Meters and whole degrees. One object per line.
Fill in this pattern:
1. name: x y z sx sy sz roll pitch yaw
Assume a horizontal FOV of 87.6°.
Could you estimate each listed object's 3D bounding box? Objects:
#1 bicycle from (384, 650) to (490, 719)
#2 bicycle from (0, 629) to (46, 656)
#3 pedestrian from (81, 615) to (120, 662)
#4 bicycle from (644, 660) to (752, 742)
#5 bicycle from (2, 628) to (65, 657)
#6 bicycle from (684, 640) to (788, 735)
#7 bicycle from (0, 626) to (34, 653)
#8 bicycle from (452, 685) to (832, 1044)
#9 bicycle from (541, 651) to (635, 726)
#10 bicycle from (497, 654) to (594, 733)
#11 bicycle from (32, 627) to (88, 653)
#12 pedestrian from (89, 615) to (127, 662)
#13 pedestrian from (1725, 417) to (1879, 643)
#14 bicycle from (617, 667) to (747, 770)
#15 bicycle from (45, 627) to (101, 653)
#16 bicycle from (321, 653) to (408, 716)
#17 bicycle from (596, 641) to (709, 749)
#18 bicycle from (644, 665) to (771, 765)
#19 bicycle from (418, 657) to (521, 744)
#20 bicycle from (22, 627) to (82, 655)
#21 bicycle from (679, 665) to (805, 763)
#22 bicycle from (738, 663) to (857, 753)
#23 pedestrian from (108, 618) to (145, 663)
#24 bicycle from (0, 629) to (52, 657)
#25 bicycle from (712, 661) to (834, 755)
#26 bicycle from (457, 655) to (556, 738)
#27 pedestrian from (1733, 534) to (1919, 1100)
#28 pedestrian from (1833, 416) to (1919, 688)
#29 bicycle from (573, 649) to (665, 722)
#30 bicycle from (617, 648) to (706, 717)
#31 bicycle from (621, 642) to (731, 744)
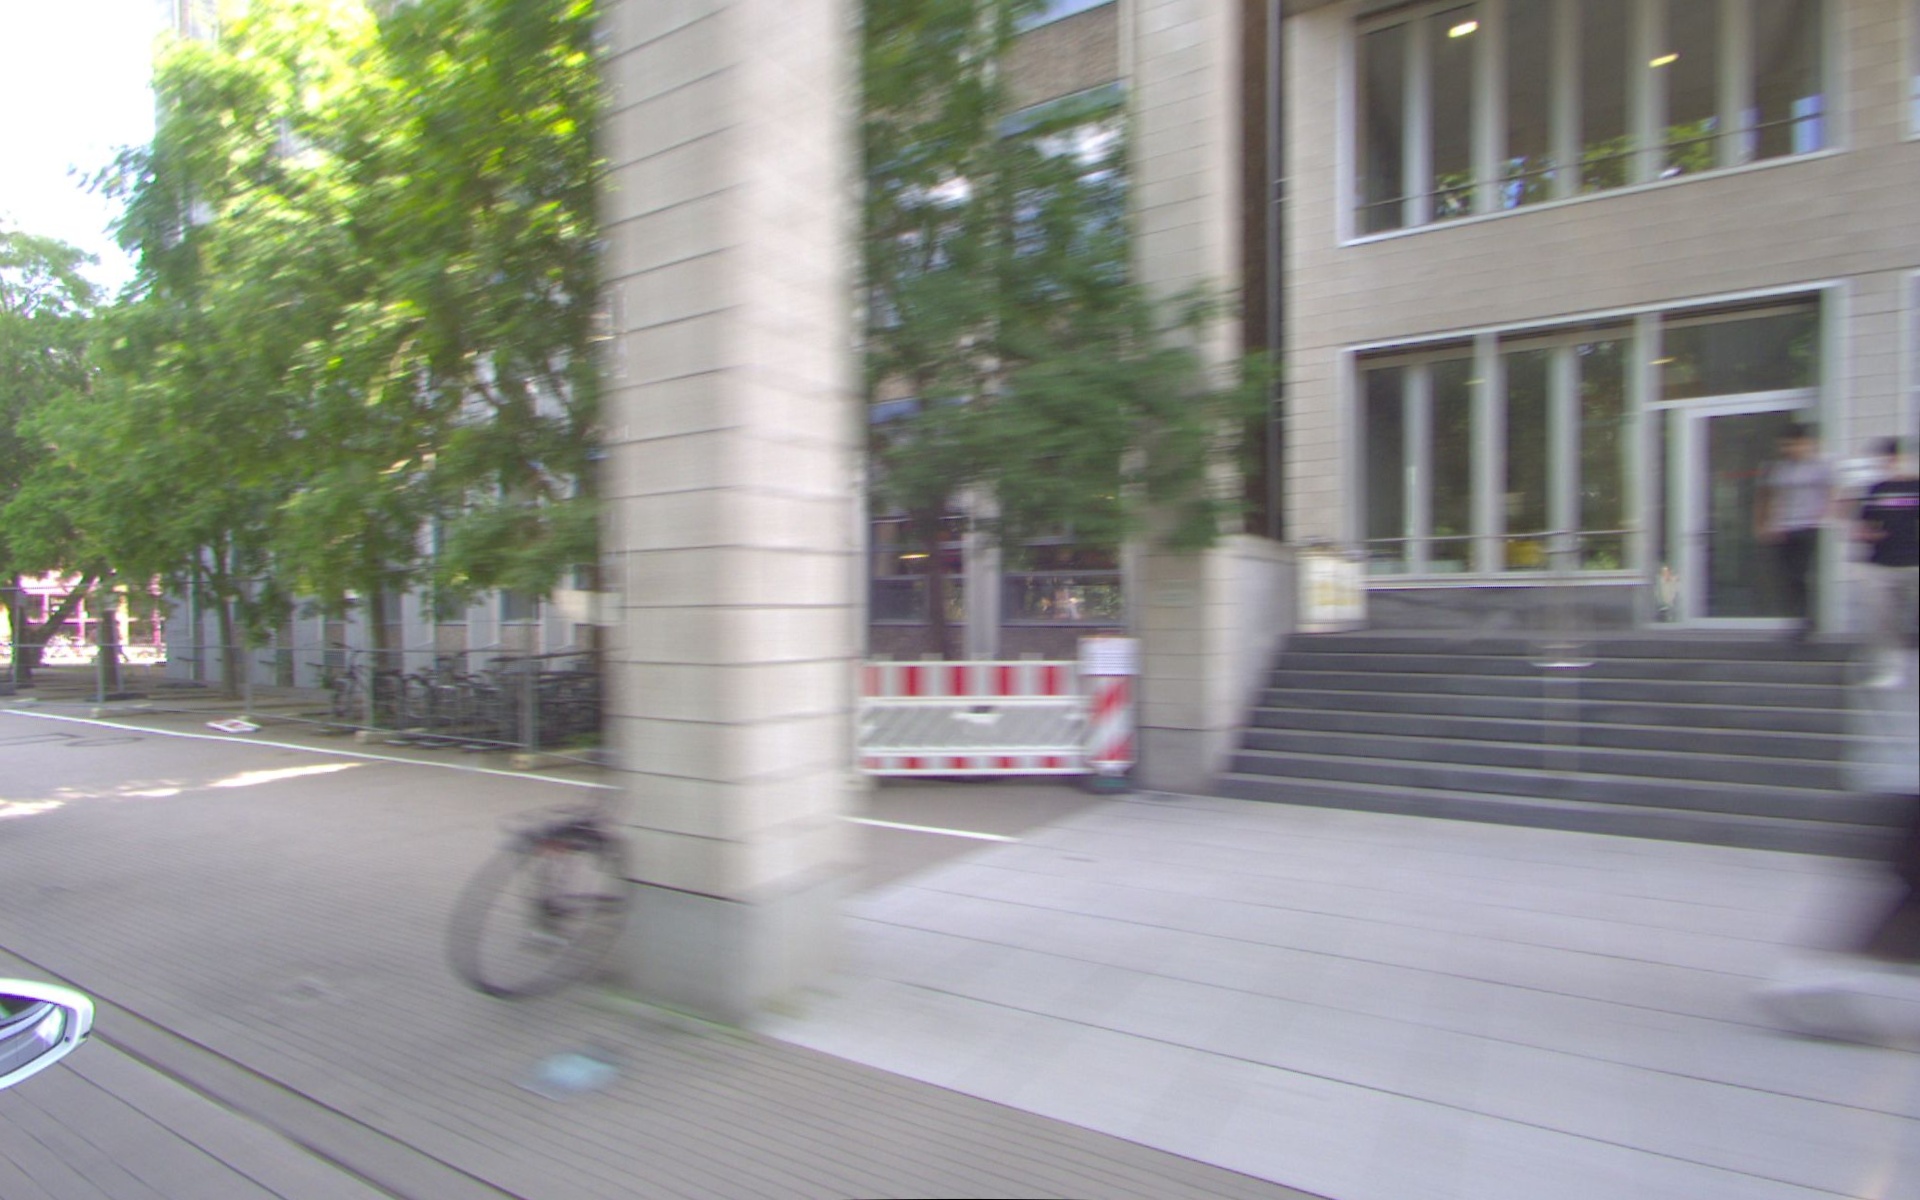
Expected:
1. bicycle: -7.524 1.199 14.382 1.775 0.917 0.290 0 0 24
2. bicycle: -39.292 1.769 41.647 0.516 1.124 1.808 0 -2 29
3. pedestrian: -32.884 1.451 38.320 0.674 1.750 0.901 -3 -1 27
4. bicycle: -3.123 1.177 11.882 1.426 0.899 0.290 0 0 29
5. bicycle: -37.709 1.727 40.788 0.516 1.124 1.807 0 -2 31
6. bicycle: -2.792 1.060 12.431 1.426 1.113 0.290 0 0 29
7. bicycle: -40.787 1.678 42.731 0.516 1.124 1.807 0 -2 30
8. bicycle: -1.217 0.964 4.235 0.442 1.053 1.737 1 1 27
9. bicycle: -4.915 1.144 13.197 1.426 0.917 0.290 0 0 29
10. bicycle: -5.229 1.154 12.600 1.426 0.917 0.290 0 0 29
11. bicycle: -40.358 1.782 44.934 0.466 1.124 1.806 0 -2 26
12. pedestrian: -32.207 1.446 37.857 0.674 1.750 0.901 -3 -1 27
13. pedestrian: 6.693 -0.516 7.967 0.870 1.677 0.698 0 1 -32
14. bicycle: -2.744 1.139 9.831 1.426 0.917 0.290 0 0 29
15. bicycle: -39.199 1.746 44.274 0.466 1.124 1.806 0 -2 26
16. bicycle: -9.265 1.297 15.569 1.592 0.917 0.290 0 0 24
17. bicycle: -3.458 1.039 11.217 1.426 1.143 0.290 0 0 29
18. bicycle: -2.561 1.135 10.113 1.426 0.917 0.290 0 0 29
19. bicycle: -5.663 1.137 11.535 1.426 0.917 0.290 0 0 29
20. bicycle: -36.180 1.629 39.917 0.468 1.124 1.690 -1 -2 35
21. bicycle: -2.265 1.152 10.341 1.426 0.917 0.290 0 0 29
22. bicycle: -1.808 1.174 11.079 1.426 0.917 0.290 0 0 29
23. pedestrian: -33.380 1.611 40.112 0.674 1.750 0.901 -3 -1 27
24. bicycle: -38.525 1.755 41.072 0.517 1.124 1.805 -1 -2 35
25. bicycle: -2.013 1.133 10.725 1.426 0.917 0.290 0 0 29
26. bicycle: -5.463 1.142 12.041 1.426 0.917 0.290 0 0 29
27. pedestrian: 3.108 0.626 3.140 0.727 1.639 0.807 -1 1 -6
28. pedestrian: 6.715 -0.319 7.080 0.873 1.827 0.696 0 1 -41
29. bicycle: -4.650 1.147 13.628 1.426 0.917 0.290 0 0 29
30. bicycle: -4.253 1.158 14.253 1.426 0.917 0.290 0 0 29
31. bicycle: -3.298 1.051 11.578 1.426 1.108 0.290 0 0 29
